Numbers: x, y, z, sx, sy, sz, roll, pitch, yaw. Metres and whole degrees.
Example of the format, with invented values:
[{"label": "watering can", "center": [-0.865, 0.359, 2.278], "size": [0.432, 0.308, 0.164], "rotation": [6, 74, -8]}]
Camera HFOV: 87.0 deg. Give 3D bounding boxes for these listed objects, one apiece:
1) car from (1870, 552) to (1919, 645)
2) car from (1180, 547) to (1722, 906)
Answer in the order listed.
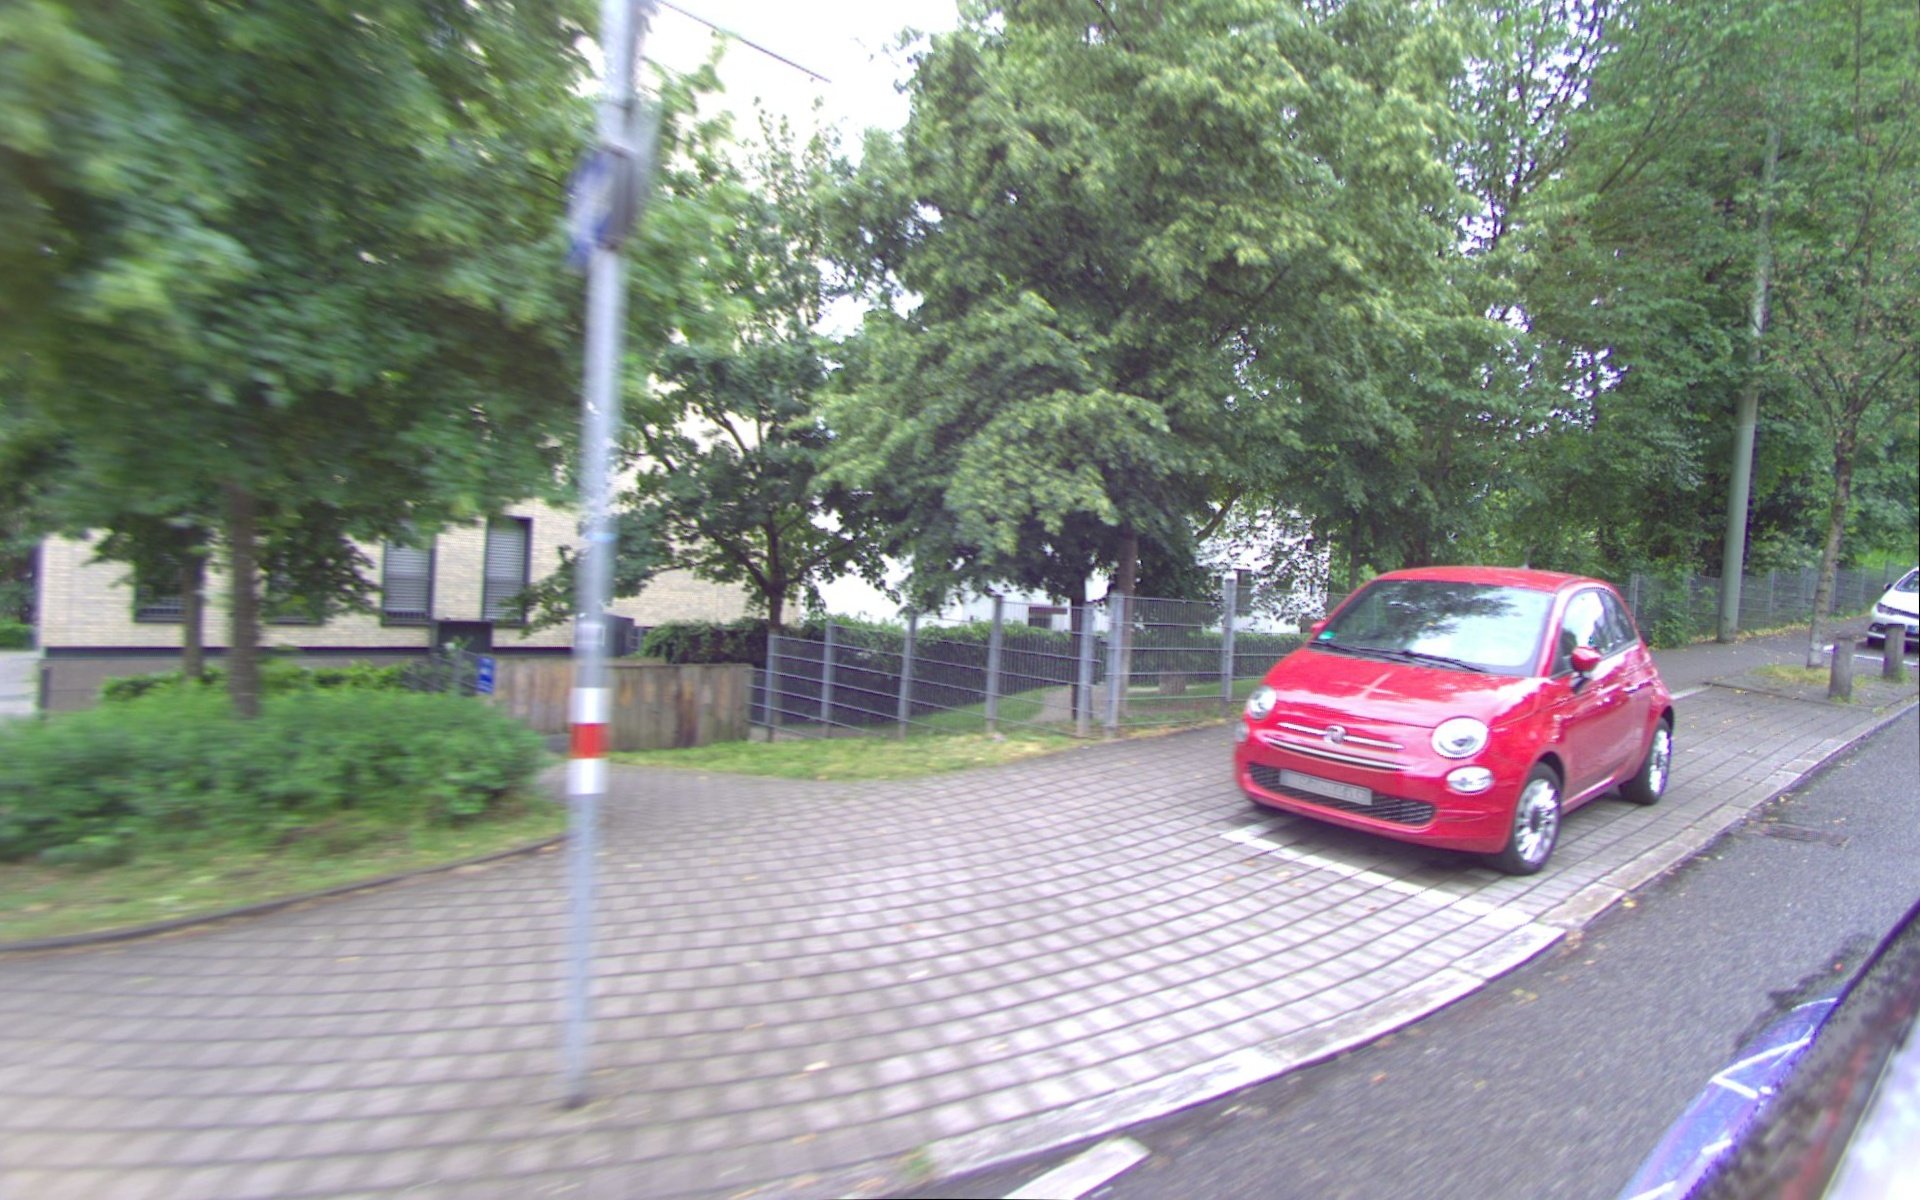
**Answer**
[{"label": "car", "center": [17.909, -0.003, 17.944], "size": [4.795, 1.480, 1.747], "rotation": [-1, 7, -39]}, {"label": "car", "center": [3.226, 0.491, 6.294], "size": [3.890, 1.520, 1.613], "rotation": [-1, 4, -42]}]
